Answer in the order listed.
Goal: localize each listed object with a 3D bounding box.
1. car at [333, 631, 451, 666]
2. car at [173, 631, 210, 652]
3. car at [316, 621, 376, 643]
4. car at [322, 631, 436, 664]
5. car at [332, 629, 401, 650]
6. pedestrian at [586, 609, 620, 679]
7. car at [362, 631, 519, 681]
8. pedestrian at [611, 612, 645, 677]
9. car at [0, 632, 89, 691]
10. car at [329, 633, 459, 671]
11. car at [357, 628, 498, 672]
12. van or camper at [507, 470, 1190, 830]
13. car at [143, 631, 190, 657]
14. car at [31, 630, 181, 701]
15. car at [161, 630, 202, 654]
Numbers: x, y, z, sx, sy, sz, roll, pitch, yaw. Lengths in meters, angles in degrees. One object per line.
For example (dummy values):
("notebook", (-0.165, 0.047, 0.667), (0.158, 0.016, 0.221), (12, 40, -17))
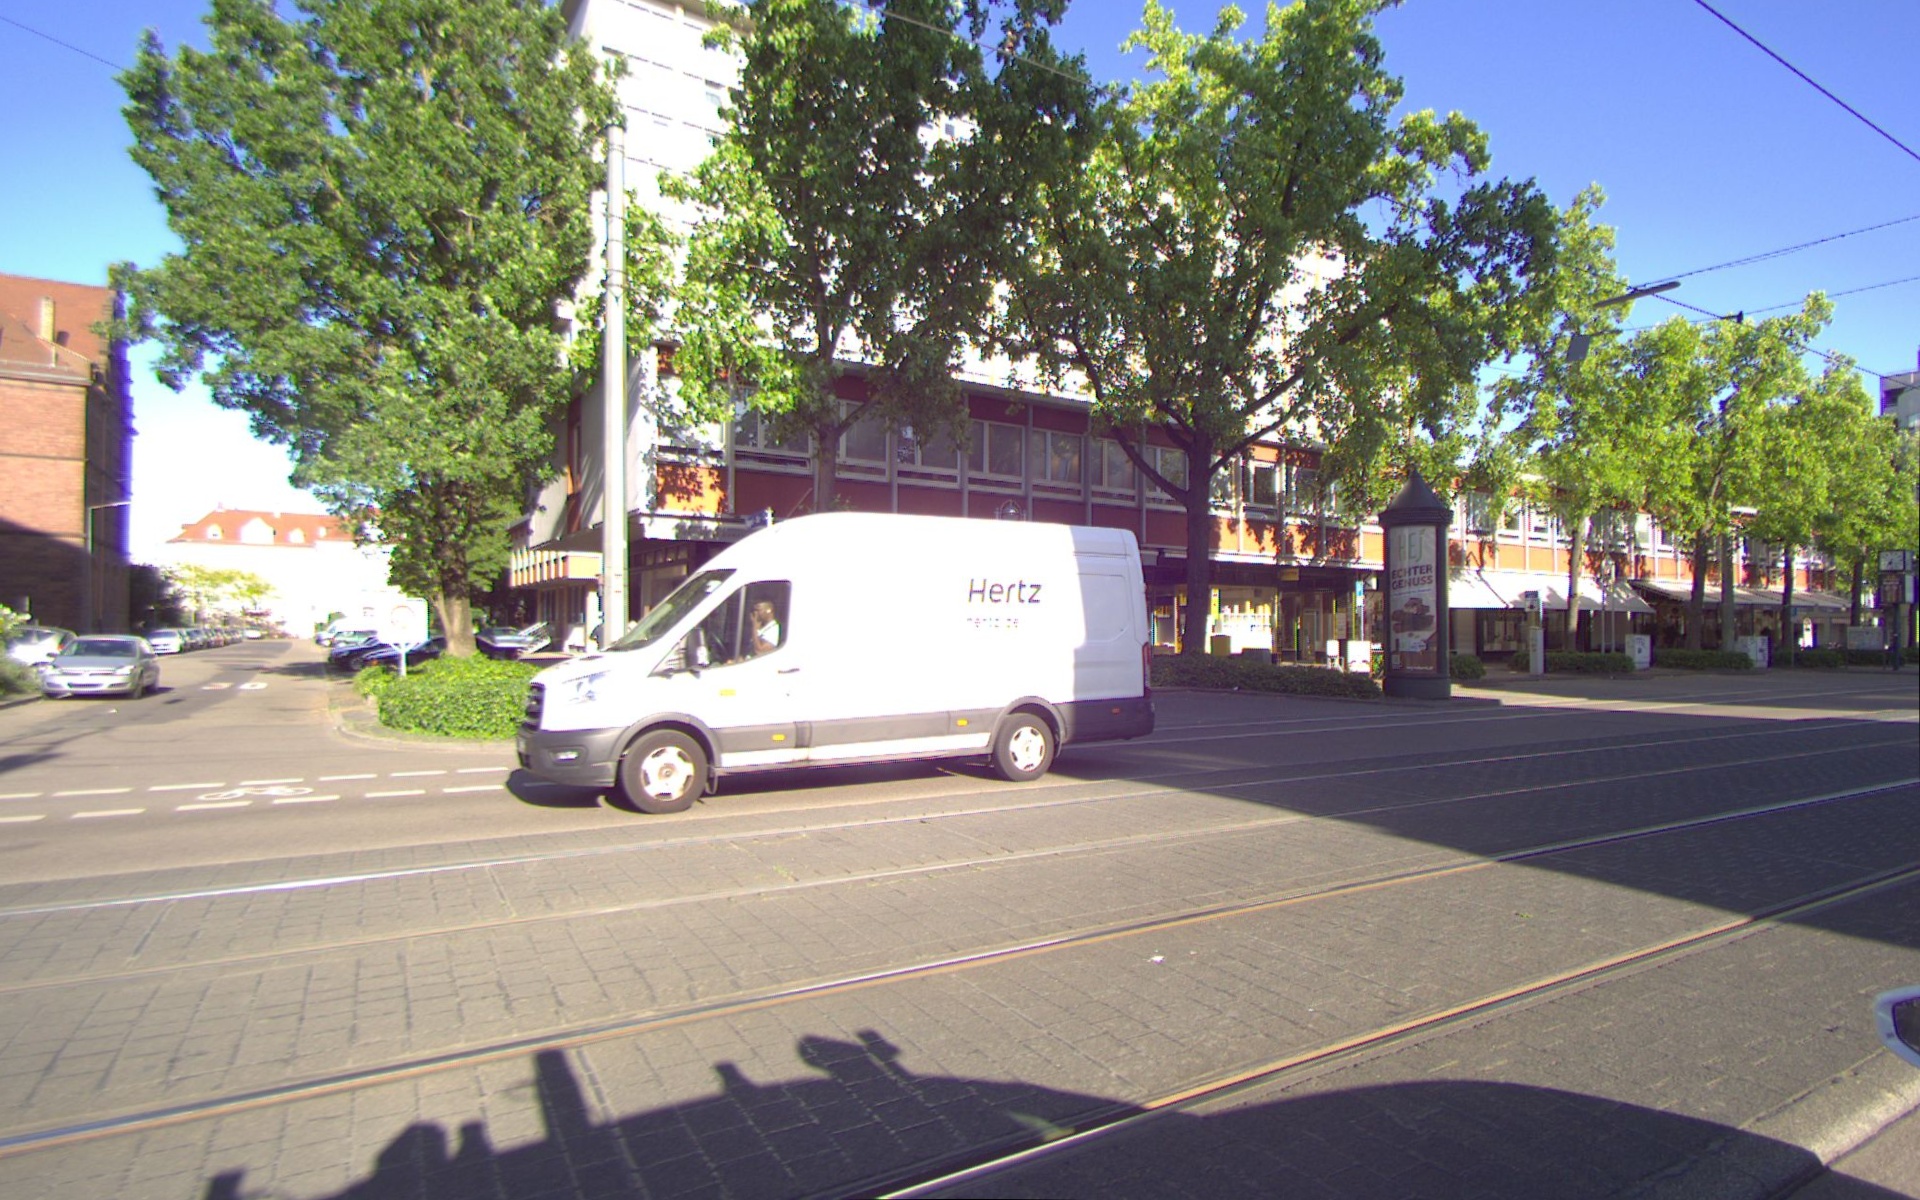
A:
("car", (-26.223, 2.220, 46.545), (4.668, 1.550, 1.985), (1, -2, -29))
("car", (-56.744, 3.061, 74.233), (1.980, 1.550, 4.185), (1, -2, -35))
("car", (-57.406, 2.968, 93.972), (4.783, 2.040, 1.982), (1, -2, -33))
("car", (-27.996, 2.289, 48.597), (4.668, 1.550, 1.985), (1, -2, -29))
("car", (-44.024, 2.921, 74.518), (4.232, 1.550, 1.981), (1, -2, -35))
("pedestrian", (-8.336, 1.031, 23.448), (0.711, 1.613, 0.445), (1, -2, -21))
("car", (-17.818, 1.897, 34.596), (4.668, 1.550, 1.985), (1, 1, -29))
("pedestrian", (-8.370, 1.118, 25.315), (0.708, 1.613, 0.447), (0, -2, -5))
("car", (-26.295, 1.637, 26.902), (4.233, 1.550, 1.981), (2, -2, -35))
("car", (-23.820, 2.186, 42.476), (4.668, 1.550, 1.985), (1, -2, -29))
("car", (-20.500, 1.907, 38.802), (4.668, 1.550, 1.985), (1, 0, -29))
("van or camper", (-0.806, 0.497, 10.513), (6.945, 2.775, 2.025), (2, -3, -33))
("car", (-48.377, 2.658, 61.314), (1.980, 1.550, 4.185), (1, -2, -35))
("car", (-20.372, 1.506, 24.176), (1.977, 1.550, 4.241), (1, -2, -30))
("car", (-53.657, 2.888, 69.254), (1.980, 1.550, 4.185), (1, -2, -35))
